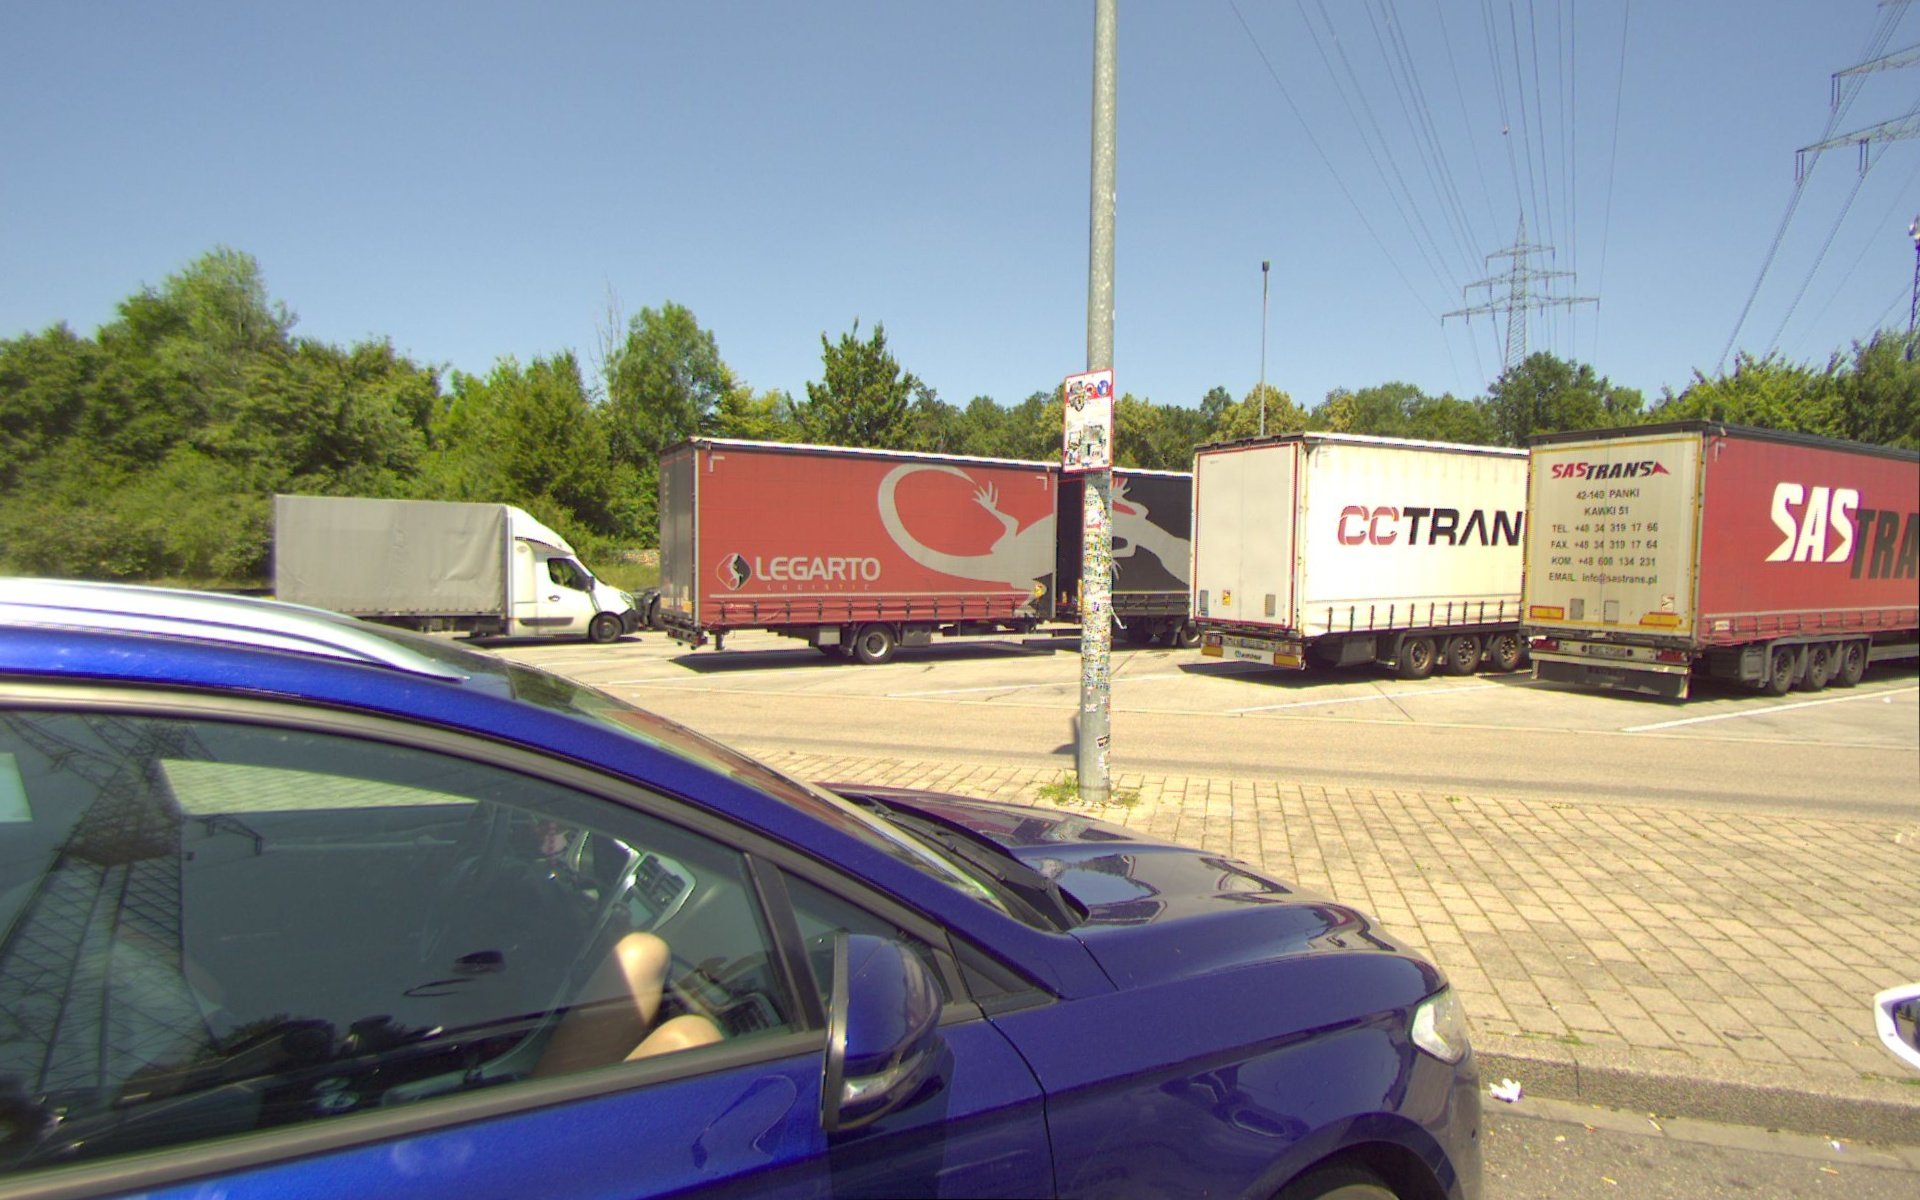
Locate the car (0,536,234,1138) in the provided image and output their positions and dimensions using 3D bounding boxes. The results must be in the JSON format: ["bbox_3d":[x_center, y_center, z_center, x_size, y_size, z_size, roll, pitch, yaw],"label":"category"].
[{"bbox_3d":[-4.534,0.585,2.257,4.592,1.554,1.726,0,1,-33],"label":"car"}]

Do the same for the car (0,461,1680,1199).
[{"bbox_3d":[-0.960,0.656,1.472,4.592,1.502,1.727,0,0,-33],"label":"car"}]

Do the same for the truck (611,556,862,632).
[{"bbox_3d":[-6.461,-0.155,29.529,6.961,2.040,1.984,0,0,-30],"label":"truck"}]

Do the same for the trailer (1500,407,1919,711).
[{"bbox_3d":[15.425,-0.703,18.564,13.559,4.189,2.892,-1,3,-30],"label":"trailer"}]

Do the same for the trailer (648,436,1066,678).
[{"bbox_3d":[-1.906,-0.825,20.269,7.996,4.101,2.696,-1,3,-30],"label":"trailer"}]

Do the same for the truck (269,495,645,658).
[{"bbox_3d":[-11.182,-0.565,22.906,7.254,3.254,2.515,-1,3,-30],"label":"truck"}]

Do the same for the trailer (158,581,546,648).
[{"bbox_3d":[-14.810,0.269,25.189,7.996,1.394,2.211,-1,3,-30],"label":"trailer"}]

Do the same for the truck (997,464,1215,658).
[{"bbox_3d":[3.376,-0.900,23.363,4.273,4.072,2.689,-1,3,-30],"label":"truck"}]

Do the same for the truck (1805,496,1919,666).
[{"bbox_3d":[21.748,-0.433,22.309,5.418,3.475,2.838,-1,3,-30],"label":"truck"}]

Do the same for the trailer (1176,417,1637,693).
[{"bbox_3d":[8.886,-0.819,19.329,10.049,4.267,2.714,-1,3,-30],"label":"trailer"}]
